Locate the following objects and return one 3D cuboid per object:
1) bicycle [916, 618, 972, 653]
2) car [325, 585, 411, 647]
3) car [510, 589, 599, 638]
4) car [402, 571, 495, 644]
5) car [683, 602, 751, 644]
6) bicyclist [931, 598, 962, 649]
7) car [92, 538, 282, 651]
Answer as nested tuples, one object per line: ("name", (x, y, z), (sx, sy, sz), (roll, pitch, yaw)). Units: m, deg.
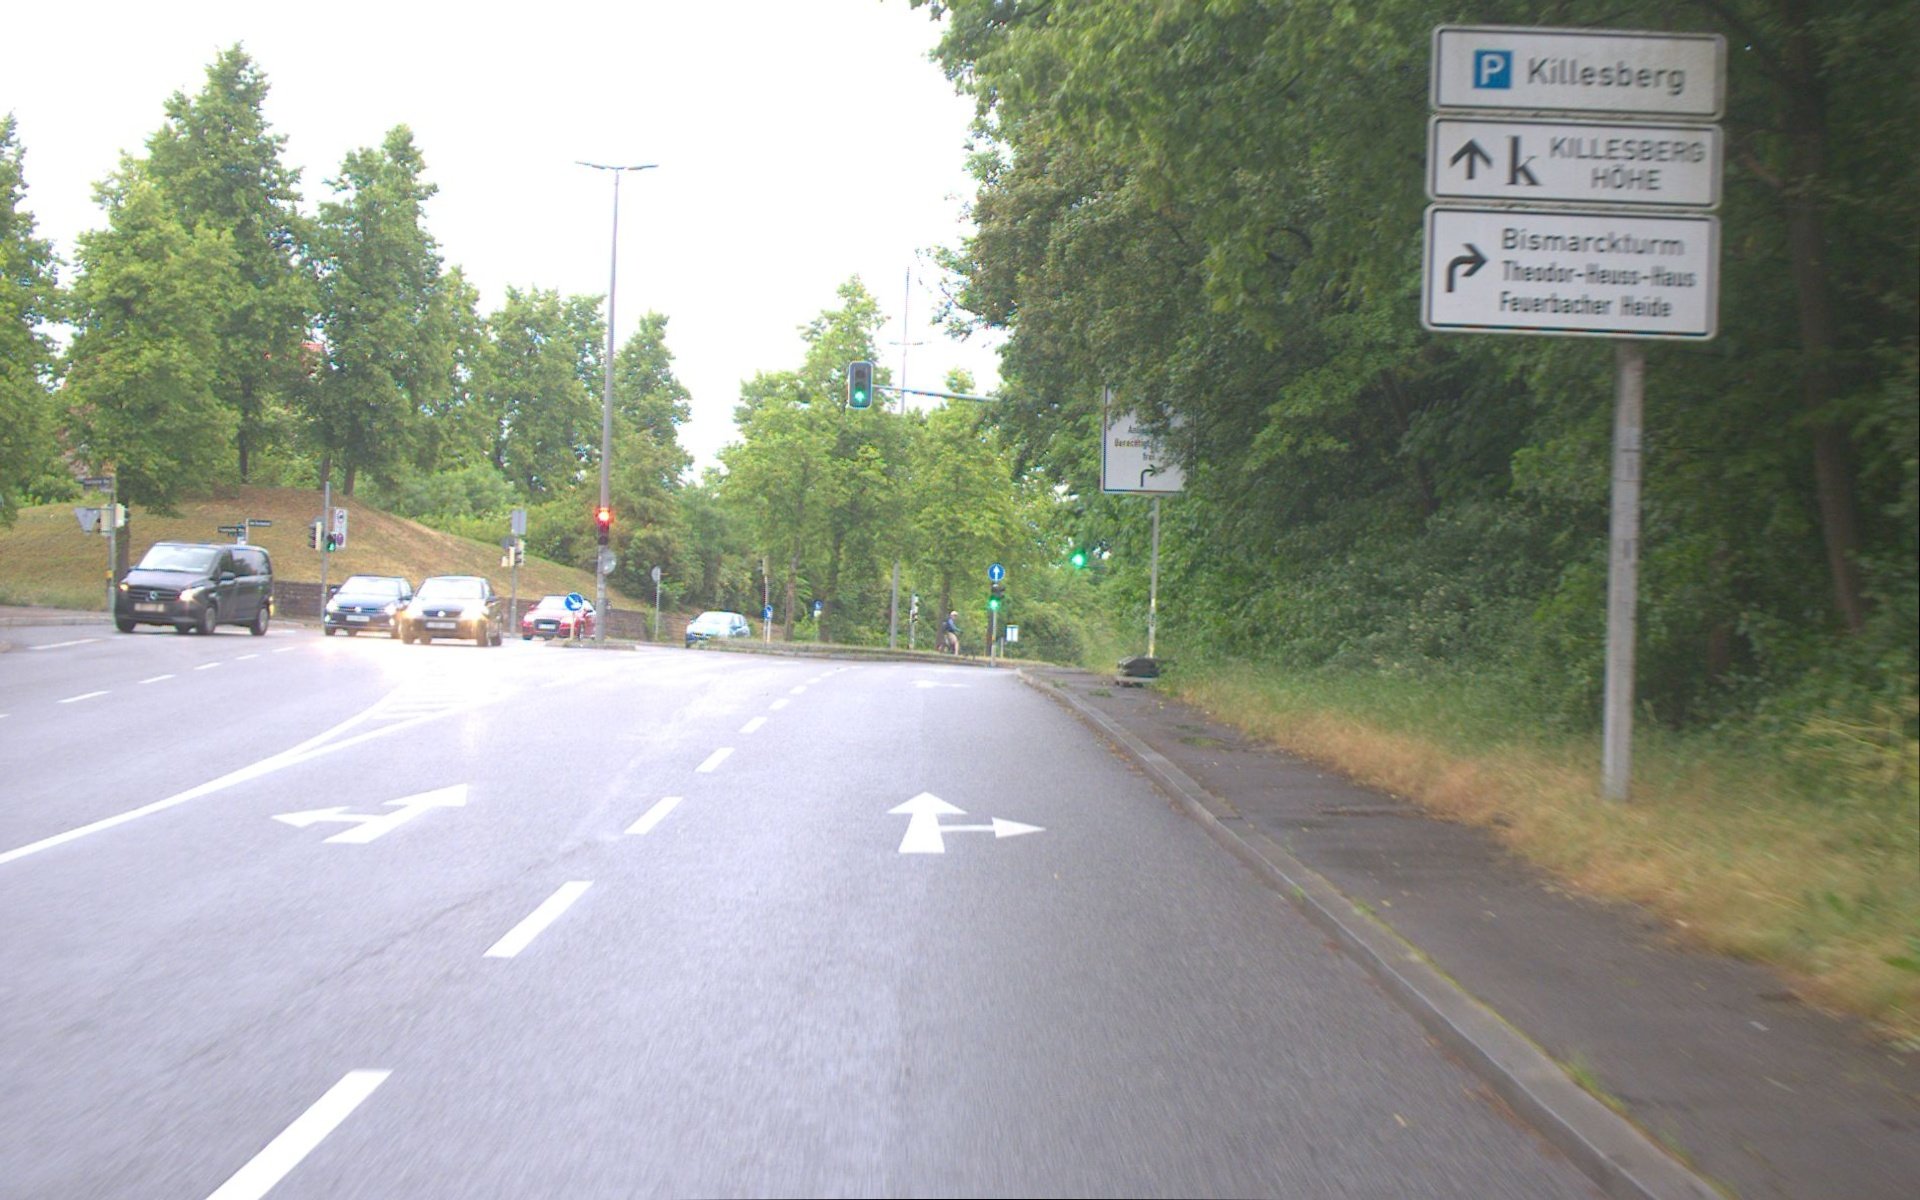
("bicycle", (-0.572, 1.271, 122.579), (2.134, 1.139, 0.554), (5, -2, -42))
("car", (-13.746, 0.354, 80.029), (1.631, 1.389, 4.001), (1, 0, -5))
("car", (-12.253, 0.389, 104.163), (1.875, 1.369, 4.384), (2, 0, 4))
("car", (-10.685, 0.138, 72.032), (1.700, 1.422, 4.079), (2, 0, -6))
("car", (-8.835, 0.839, 125.212), (1.994, 1.485, 3.936), (0, 0, 3))
("bicyclist", (-0.479, 0.849, 122.916), (0.799, 1.746, 0.725), (6, -5, -42))
("car", (-15.738, -0.077, 70.277), (2.103, 1.940, 5.158), (3, -2, 6))
